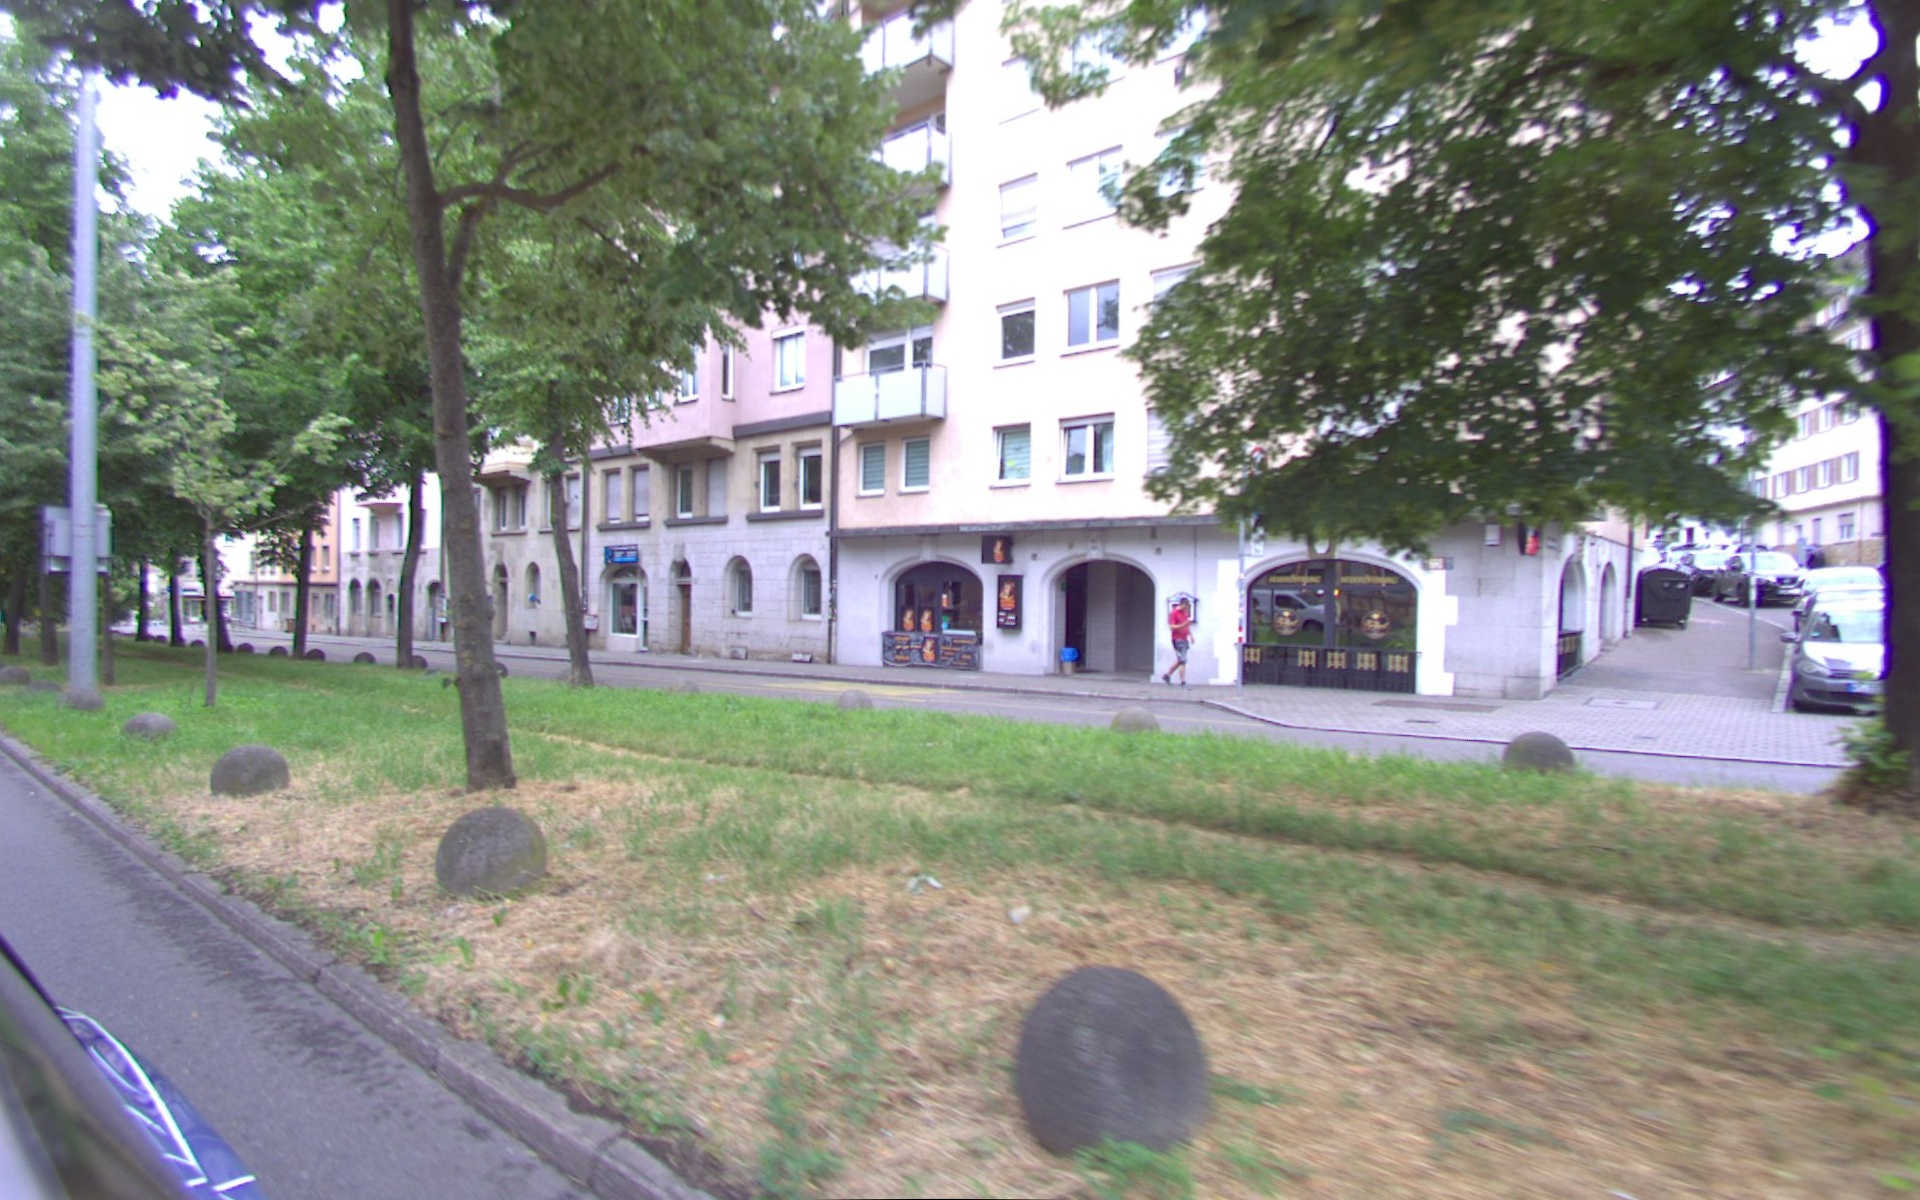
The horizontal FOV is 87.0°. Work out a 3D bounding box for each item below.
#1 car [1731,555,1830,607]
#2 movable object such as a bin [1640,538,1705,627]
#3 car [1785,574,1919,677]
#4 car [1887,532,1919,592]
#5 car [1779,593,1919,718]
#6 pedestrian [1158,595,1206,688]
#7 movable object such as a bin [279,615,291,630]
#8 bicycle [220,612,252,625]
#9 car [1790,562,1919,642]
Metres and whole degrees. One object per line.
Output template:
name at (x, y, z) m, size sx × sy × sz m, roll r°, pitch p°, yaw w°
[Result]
car at (24.461, -0.569, 30.306) m, size 1.995 × 1.453 × 3.953 m, roll -1°, pitch 1°, yaw 35°
movable object such as a bin at (17.070, -0.413, 24.235) m, size 1.093 × 2.029 × 1.973 m, roll 0°, pitch 1°, yaw 40°
car at (16.295, 0.384, 18.226) m, size 1.996 × 1.430 × 3.953 m, roll 0°, pitch 4°, yaw 36°
car at (34.102, -1.304, 35.337) m, size 1.995 × 2.029 × 3.954 m, roll 0°, pitch 1°, yaw 34°
car at (13.316, 0.701, 14.668) m, size 2.047 × 1.430 × 4.243 m, roll -1°, pitch 1°, yaw 41°
pedestrian at (4.108, 0.753, 18.748) m, size 0.701 × 1.679 × 0.526 m, roll -1°, pitch -1°, yaw 42°
movable object such as a bin at (-42.291, 1.431, 63.415) m, size 0.506 × 0.934 × 0.779 m, roll -1°, pitch 0°, yaw -45°
bicycle at (-67.919, 1.718, 94.948) m, size 2.309 × 1.108 × 0.777 m, roll -1°, pitch 0°, yaw -26°
car at (19.566, -0.020, 22.262) m, size 1.901 × 1.430 × 3.993 m, roll 0°, pitch 4°, yaw 38°
